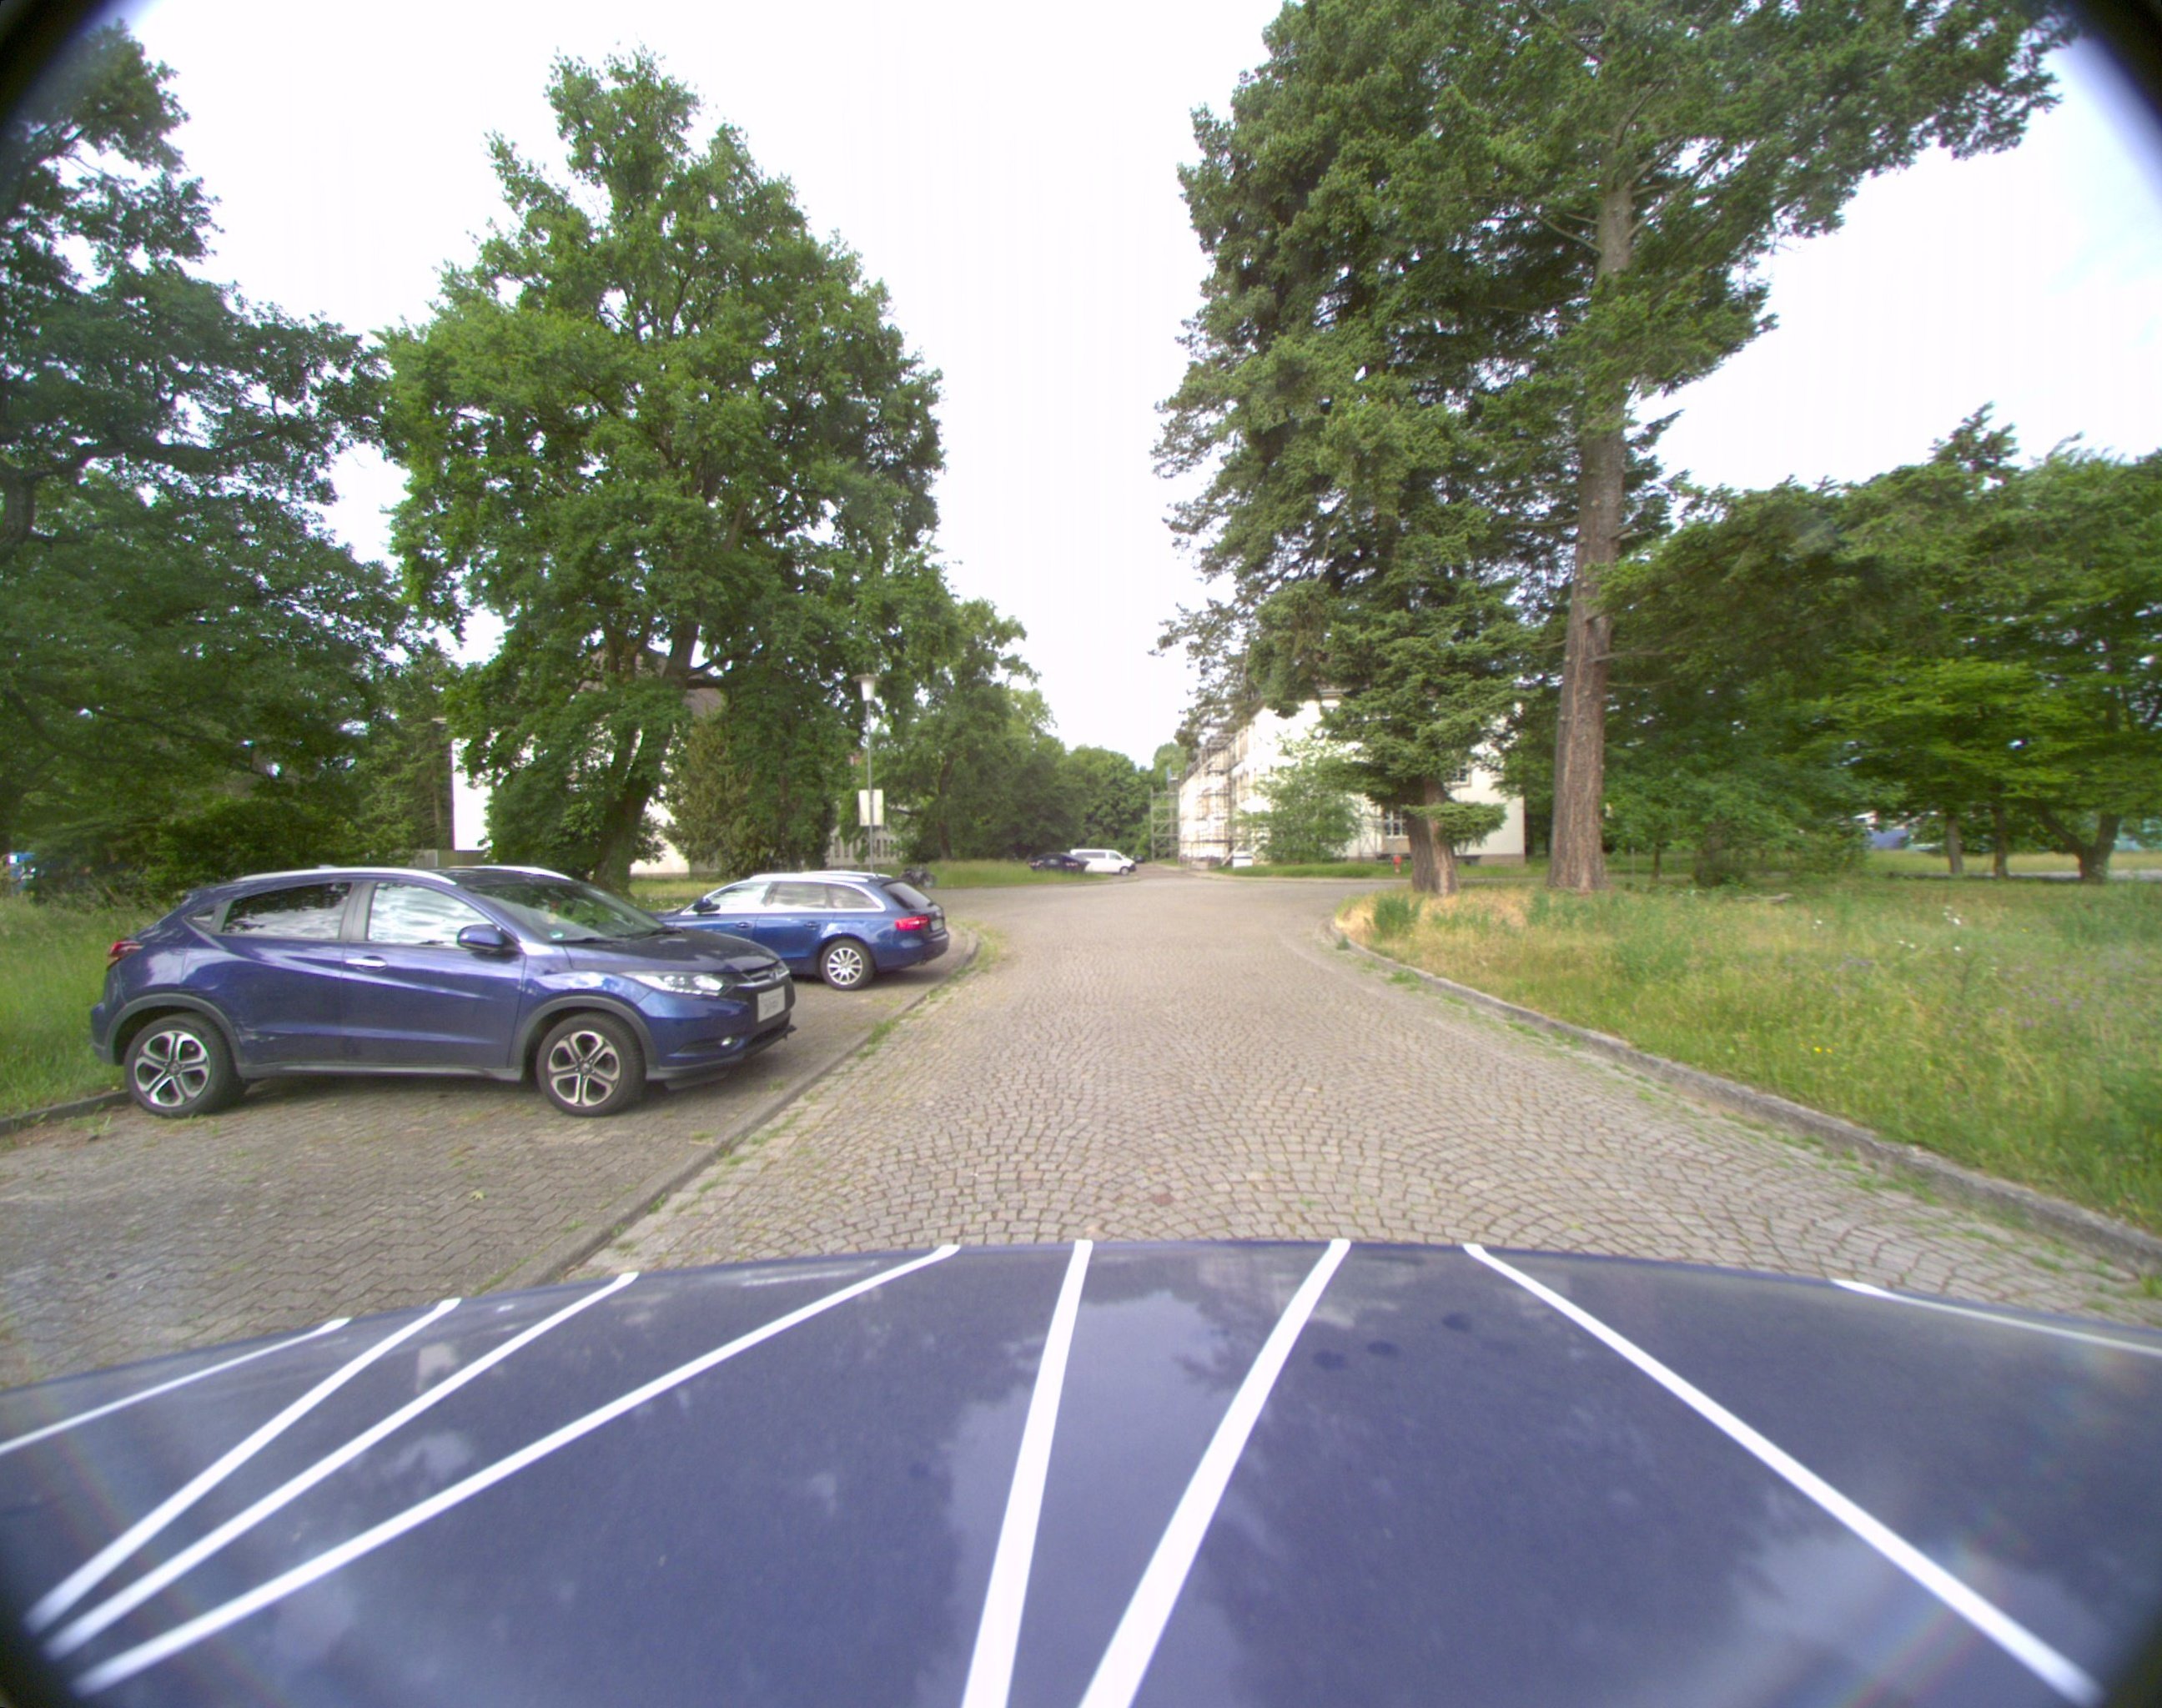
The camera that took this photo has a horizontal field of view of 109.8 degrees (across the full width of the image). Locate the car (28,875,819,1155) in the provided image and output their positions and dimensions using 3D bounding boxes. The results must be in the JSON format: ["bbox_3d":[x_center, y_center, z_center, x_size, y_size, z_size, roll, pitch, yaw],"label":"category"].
[{"bbox_3d":[-4.324,1.020,5.509,4.172,1.563,1.793,-1,1,2],"label":"car"}]

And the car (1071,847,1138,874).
[{"bbox_3d":[1.829,0.468,58.892,5.100,2.007,2.055,0,1,1],"label":"car"}]

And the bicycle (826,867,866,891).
[{"bbox_3d":[-12.142,1.271,39.266,1.859,1.116,0.621,-2,1,-21],"label":"bicycle"}]

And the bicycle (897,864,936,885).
[{"bbox_3d":[-9.215,1.166,42.634,2.031,1.070,0.621,-2,1,-21],"label":"bicycle"}]

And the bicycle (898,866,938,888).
[{"bbox_3d":[-8.706,1.212,40.512,1.976,1.070,0.587,-2,1,-25],"label":"bicycle"}]

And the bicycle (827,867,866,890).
[{"bbox_3d":[-12.323,1.273,39.882,1.859,1.116,0.621,-2,1,-21],"label":"bicycle"}]

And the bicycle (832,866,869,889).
[{"bbox_3d":[-12.628,1.271,41.552,1.859,1.116,0.621,-2,1,-21],"label":"bicycle"}]

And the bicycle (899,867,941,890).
[{"bbox_3d":[-8.242,1.242,38.916,1.976,1.070,0.587,-2,1,-25],"label":"bicycle"}]

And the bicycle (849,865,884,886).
[{"bbox_3d":[-12.351,1.232,43.764,1.859,1.116,0.621,-2,1,-21],"label":"bicycle"}]

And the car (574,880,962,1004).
[{"bbox_3d":[-4.016,1.096,10.202,4.479,1.413,1.785,0,1,5],"label":"car"}]
